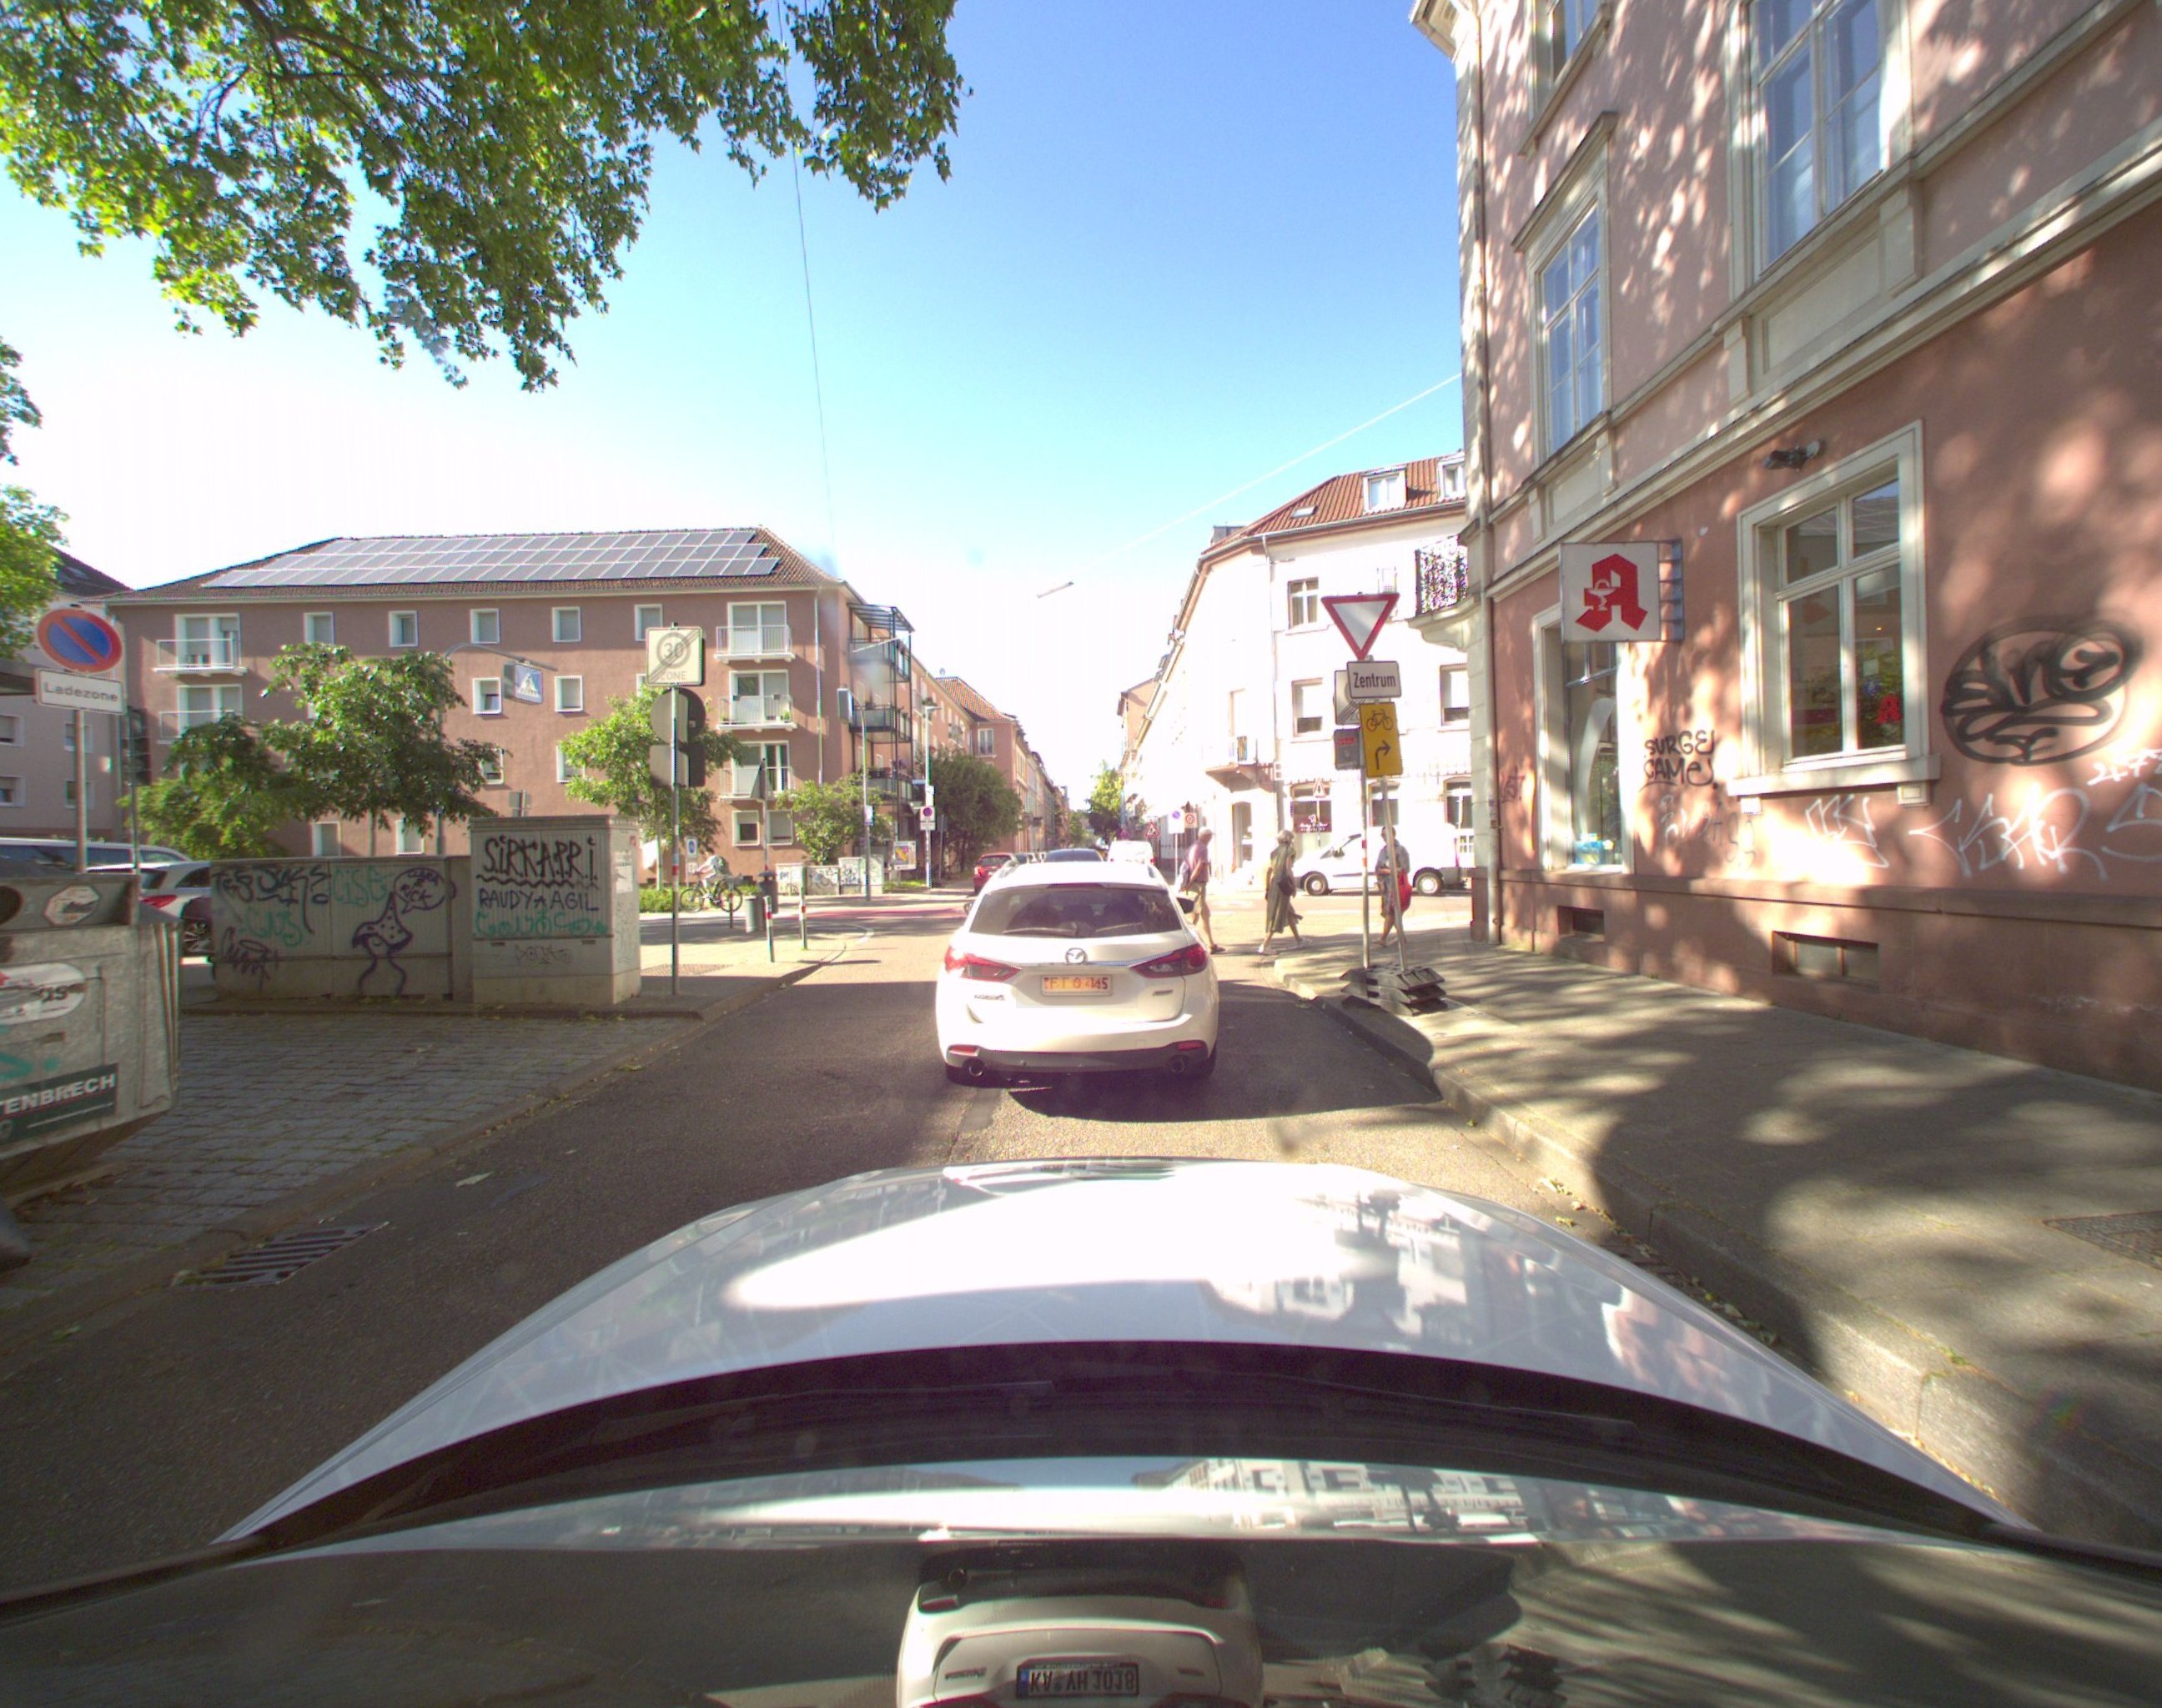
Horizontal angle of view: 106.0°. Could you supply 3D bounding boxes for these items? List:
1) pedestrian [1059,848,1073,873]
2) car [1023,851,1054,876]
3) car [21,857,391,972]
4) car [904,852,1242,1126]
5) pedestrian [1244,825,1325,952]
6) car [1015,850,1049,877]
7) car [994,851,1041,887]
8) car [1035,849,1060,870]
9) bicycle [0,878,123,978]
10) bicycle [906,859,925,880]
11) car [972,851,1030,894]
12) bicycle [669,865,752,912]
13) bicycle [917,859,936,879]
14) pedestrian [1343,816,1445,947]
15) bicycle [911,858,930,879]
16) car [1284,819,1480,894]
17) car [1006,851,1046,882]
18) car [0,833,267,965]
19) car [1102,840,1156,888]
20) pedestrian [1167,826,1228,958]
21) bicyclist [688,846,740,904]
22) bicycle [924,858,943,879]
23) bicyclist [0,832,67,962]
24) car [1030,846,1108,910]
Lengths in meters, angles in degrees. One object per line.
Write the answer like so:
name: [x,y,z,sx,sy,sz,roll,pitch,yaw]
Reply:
pedestrian: [-0.965,0.401,53.623,0.733,1.614,0.813,-2,0,-11]
car: [-2.766,0.596,53.517,1.647,1.500,3.764,-1,0,2]
car: [-14.805,0.909,14.240,1.747,1.612,4.304,-2,0,0]
car: [0.014,0.741,6.470,1.824,1.457,3.964,-2,0,2]
pedestrian: [2.858,0.488,11.504,0.833,1.667,0.626,-6,-3,1]
car: [-2.929,0.527,49.042,1.647,1.500,3.764,-1,0,2]
car: [-2.859,0.657,37.283,1.647,1.500,4.081,-1,0,2]
car: [-2.589,0.409,63.794,1.647,1.500,3.764,-1,0,2]
bicycle: [-13.401,0.911,10.183,0.800,1.153,1.717,0,0,-1]
bicycle: [-8.675,0.793,42.564,1.201,1.072,0.268,-1,0,40]
car: [-3.006,0.655,31.229,1.678,1.500,3.808,-2,0,2]
bicycle: [-10.153,0.946,22.343,1.940,1.198,0.630,-2,0,1]
bicycle: [-8.181,0.797,43.081,1.201,1.071,0.255,-1,0,40]
pedestrian: [4.125,0.358,10.792,0.841,1.573,0.846,-7,-1,-1]
bicycle: [-8.426,0.775,42.827,1.201,1.071,0.255,-1,0,40]
car: [8.478,0.093,23.032,4.964,1.946,2.063,-1,0,24]
car: [-2.830,0.635,42.481,1.647,1.500,3.764,-1,0,2]
car: [-17.372,0.742,14.023,1.947,2.006,4.742,-2,-1,-1]
car: [1.973,0.380,34.783,1.889,1.859,5.012,1,0,-1]
pedestrian: [1.603,0.503,11.324,0.747,1.764,0.831,0,0,1]
bicyclist: [-10.082,0.567,22.422,1.038,1.519,0.739,-2,0,1]
bicycle: [-7.842,0.777,43.218,1.204,1.071,0.255,-1,0,40]
bicyclist: [-13.417,0.526,10.205,0.702,1.584,0.533,0,-1,-3]
car: [-0.201,0.529,20.622,1.754,1.410,4.329,-1,0,2]
